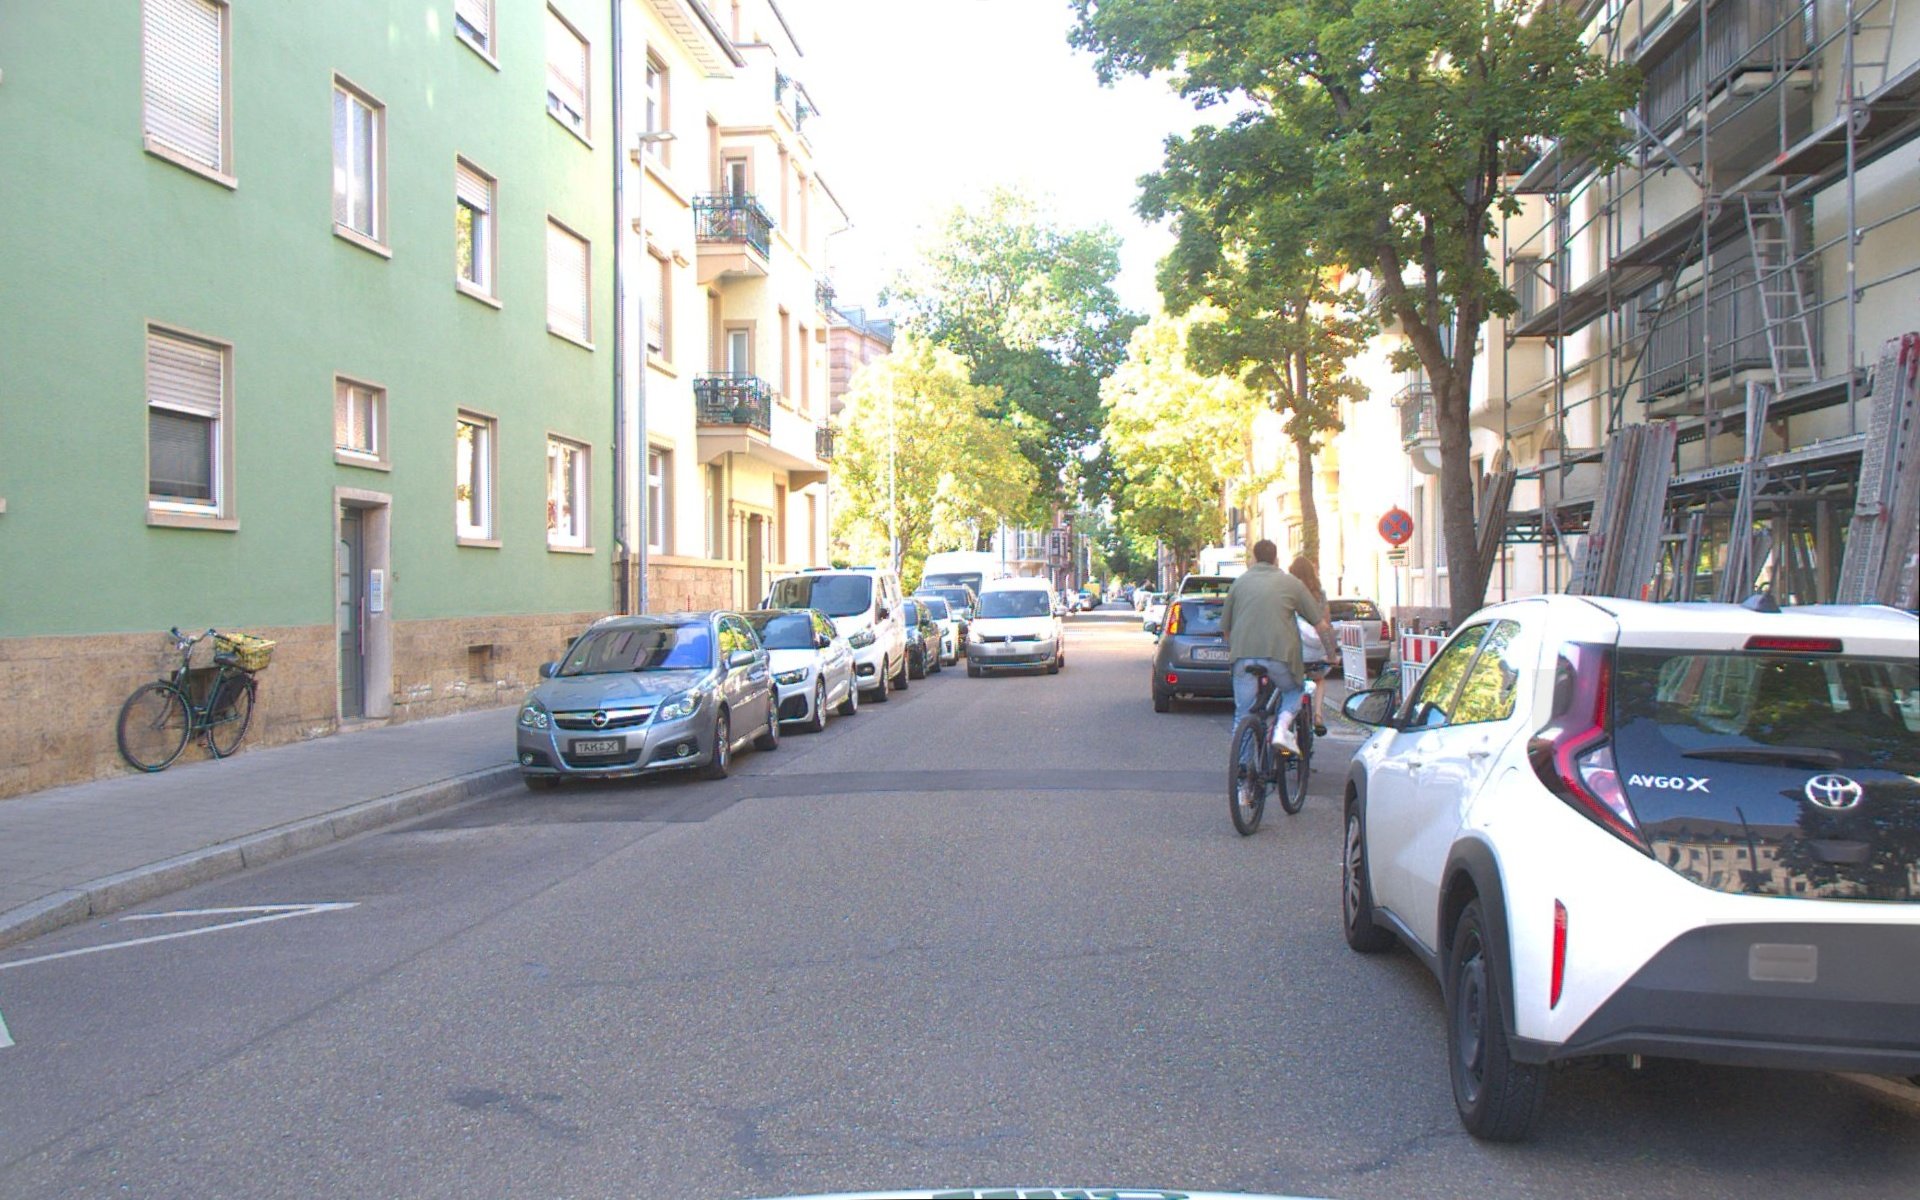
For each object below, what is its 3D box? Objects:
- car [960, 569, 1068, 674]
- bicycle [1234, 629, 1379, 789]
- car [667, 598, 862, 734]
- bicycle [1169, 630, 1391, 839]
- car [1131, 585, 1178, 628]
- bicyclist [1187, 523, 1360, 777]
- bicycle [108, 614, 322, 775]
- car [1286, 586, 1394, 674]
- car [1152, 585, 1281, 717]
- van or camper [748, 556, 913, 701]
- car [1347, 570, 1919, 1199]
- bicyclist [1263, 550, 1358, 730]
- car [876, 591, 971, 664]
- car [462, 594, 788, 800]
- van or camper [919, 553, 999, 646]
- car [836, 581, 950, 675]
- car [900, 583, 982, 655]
[{"bbox_3d":[1.128,0.395,32.597,1.744,1.893,4.202,-2,0,6],"label":"car"},{"bbox_3d":[2.853,0.833,13.414,0.822,1.169,2.232,0,-1,21],"label":"bicycle"},{"bbox_3d":[-2.316,0.742,20.489,1.651,1.479,3.713,-1,0,5],"label":"car"},{"bbox_3d":[2.202,0.831,11.116,0.823,1.169,2.230,3,1,27],"label":"bicycle"},{"bbox_3d":[7.787,0.248,66.459,1.651,1.632,4.002,-1,0,4],"label":"car"},{"bbox_3d":[2.080,0.344,10.934,0.865,1.589,0.866,-2,-4,29],"label":"bicyclist"},{"bbox_3d":[-6.275,0.747,14.096,0.539,1.198,2.280,3,1,6],"label":"bicycle"},{"bbox_3d":[6.858,0.495,30.135,1.523,1.434,3.383,2,1,7],"label":"car"},{"bbox_3d":[3.393,0.611,22.252,1.523,1.559,3.489,2,1,7],"label":"car"},{"bbox_3d":[-1.925,0.396,26.179,1.952,2.049,4.913,-1,0,3],"label":"van or camper"},{"bbox_3d":[2.427,0.720,5.756,1.639,1.572,3.406,1,0,5],"label":"car"},{"bbox_3d":[2.856,0.345,13.453,0.610,1.405,0.868,-2,-4,20],"label":"bicyclist"},{"bbox_3d":[-0.771,0.579,37.159,1.674,1.531,4.003,0,1,5],"label":"car"},{"bbox_3d":[-2.911,0.773,15.356,1.938,1.480,4.115,-5,0,2],"label":"car"},{"bbox_3d":[0.035,-0.034,48.637,1.951,2.597,5.026,0,0,4],"label":"van or camper"},{"bbox_3d":[-1.233,0.493,32.112,1.674,1.713,4.003,0,0,5],"label":"car"},{"bbox_3d":[-0.432,0.434,41.725,1.674,1.729,4.003,0,0,5],"label":"car"}]
